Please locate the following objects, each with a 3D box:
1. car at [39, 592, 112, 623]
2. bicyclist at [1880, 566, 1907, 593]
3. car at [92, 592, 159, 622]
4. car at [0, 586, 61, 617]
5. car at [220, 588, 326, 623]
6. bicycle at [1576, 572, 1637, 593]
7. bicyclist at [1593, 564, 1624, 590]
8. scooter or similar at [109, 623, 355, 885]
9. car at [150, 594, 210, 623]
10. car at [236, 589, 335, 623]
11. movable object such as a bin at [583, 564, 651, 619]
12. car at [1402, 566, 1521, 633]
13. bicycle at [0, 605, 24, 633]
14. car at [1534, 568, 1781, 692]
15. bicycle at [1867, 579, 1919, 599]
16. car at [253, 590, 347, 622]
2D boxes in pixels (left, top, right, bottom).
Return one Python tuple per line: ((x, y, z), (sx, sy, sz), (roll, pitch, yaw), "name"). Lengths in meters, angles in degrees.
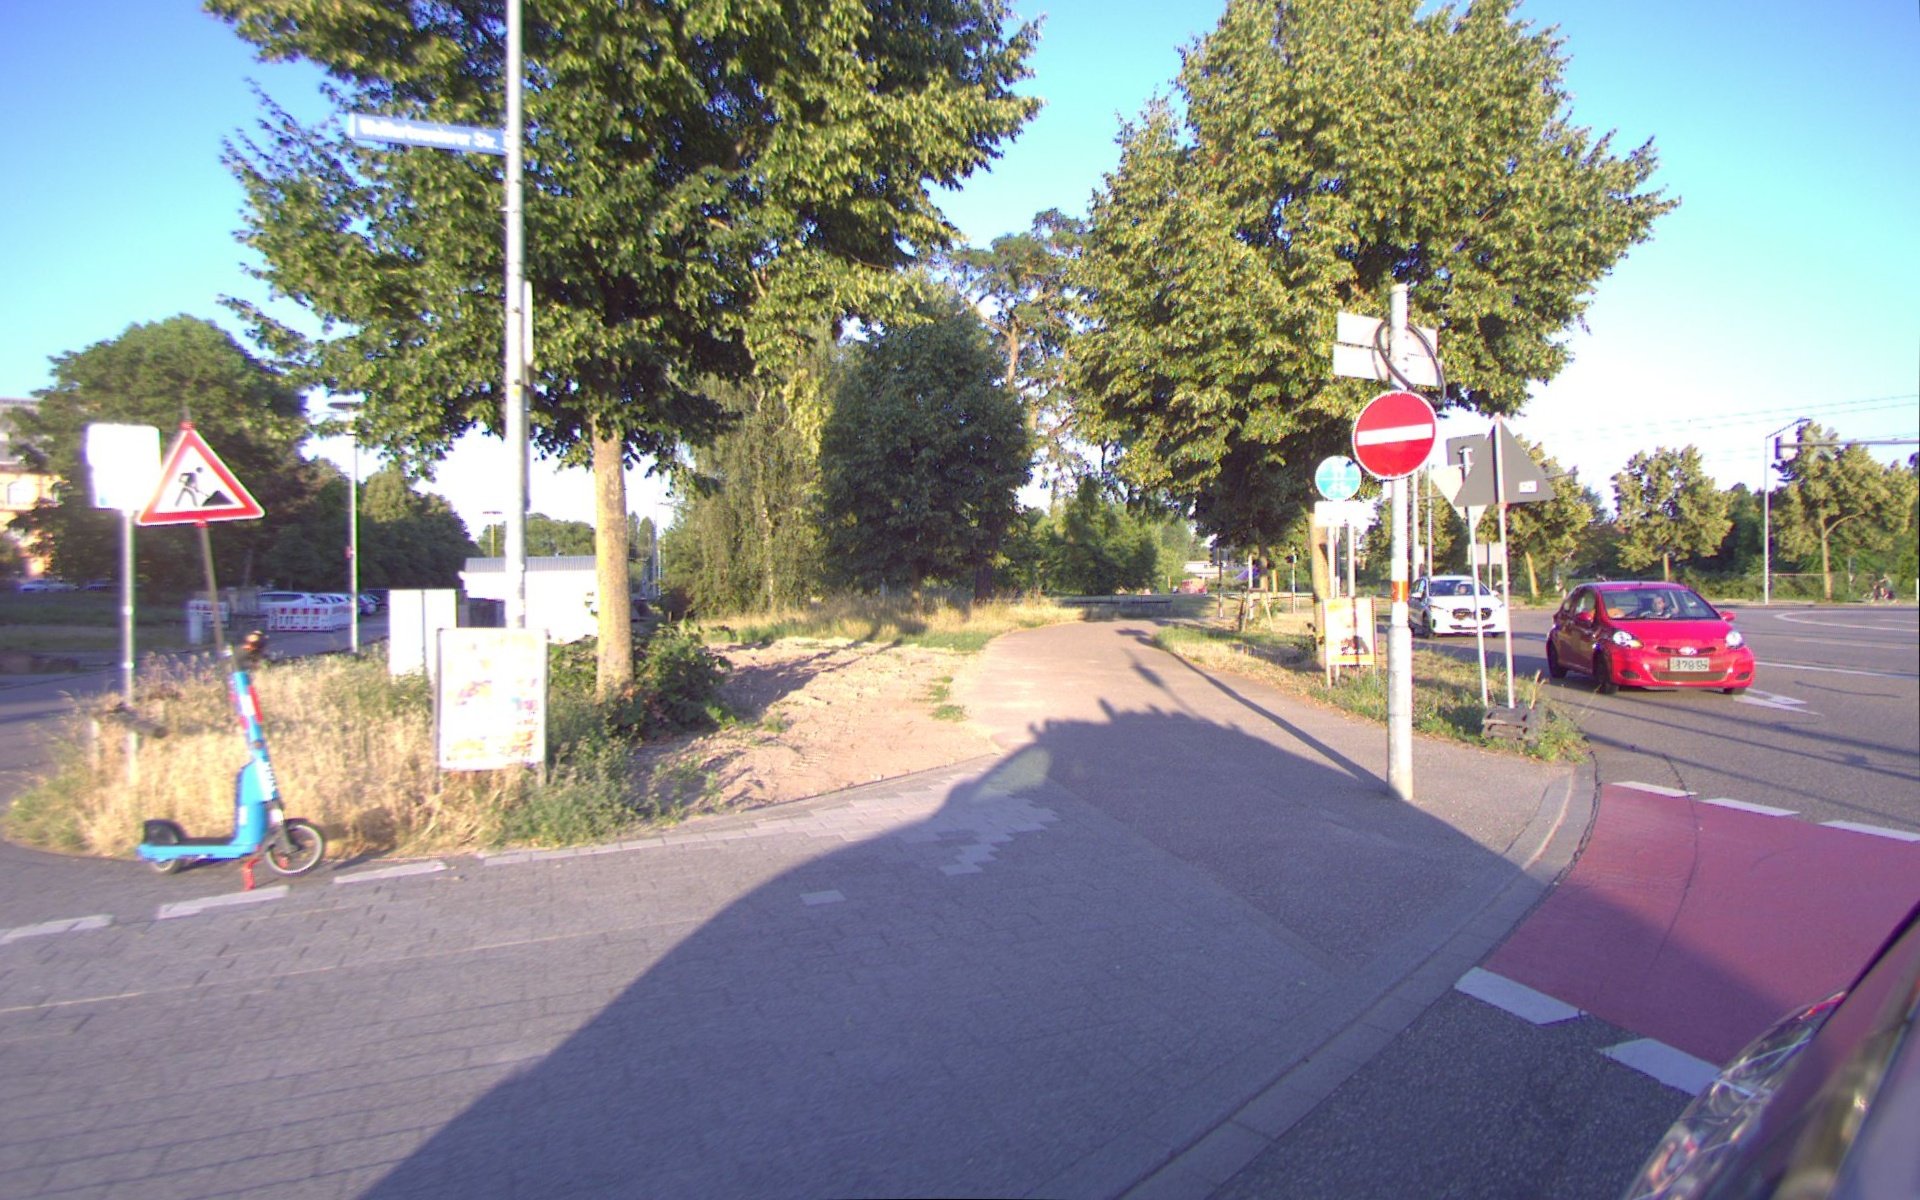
((-46.071, 0.345, 52.799), (1.856, 1.504, 3.835), (-2, 1, -25), "car")
((57.040, -1.242, 61.862), (0.991, 1.653, 0.803), (-1, 1, 27), "bicyclist")
((-44.830, 0.345, 54.470), (1.856, 1.504, 3.835), (-2, 1, -25), "car")
((-48.124, 0.079, 52.021), (1.856, 1.504, 3.835), (-2, 1, -25), "car")
((-32.201, 0.229, 47.553), (3.920, 1.504, 1.897), (-2, 1, -29), "car")
((45.179, -1.216, 70.793), (1.100, 1.412, 3.546), (-2, 1, -23), "bicycle")
((45.254, -1.590, 70.616), (1.100, 1.771, 1.420), (-2, 1, -23), "bicyclist")
((-3.790, 0.762, 5.280), (1.108, 1.254, 0.440), (-1, 0, 17), "scooter or similar")
((-43.837, 0.462, 56.937), (1.856, 1.504, 3.835), (-2, 1, -25), "car")
((-33.404, 0.270, 50.236), (3.920, 1.504, 1.897), (-2, 1, -29), "car")
((-16.324, -0.433, 48.307), (2.766, 2.460, 1.898), (-2, 2, -10), "movable object such as a bin")
((12.701, -0.042, 25.893), (1.733, 1.577, 4.200), (-1, 1, 12), "car")
((-31.326, 0.623, 32.491), (1.810, 0.890, 0.406), (0, 0, -23), "bicycle")
((9.573, 0.320, 14.294), (1.672, 1.439, 4.188), (-2, 1, 18), "car")
((57.114, -0.658, 61.856), (2.306, 1.193, 0.803), (-1, 1, 27), "bicycle")
((-34.189, 0.301, 52.581), (3.920, 1.504, 1.897), (-2, 1, -29), "car")
